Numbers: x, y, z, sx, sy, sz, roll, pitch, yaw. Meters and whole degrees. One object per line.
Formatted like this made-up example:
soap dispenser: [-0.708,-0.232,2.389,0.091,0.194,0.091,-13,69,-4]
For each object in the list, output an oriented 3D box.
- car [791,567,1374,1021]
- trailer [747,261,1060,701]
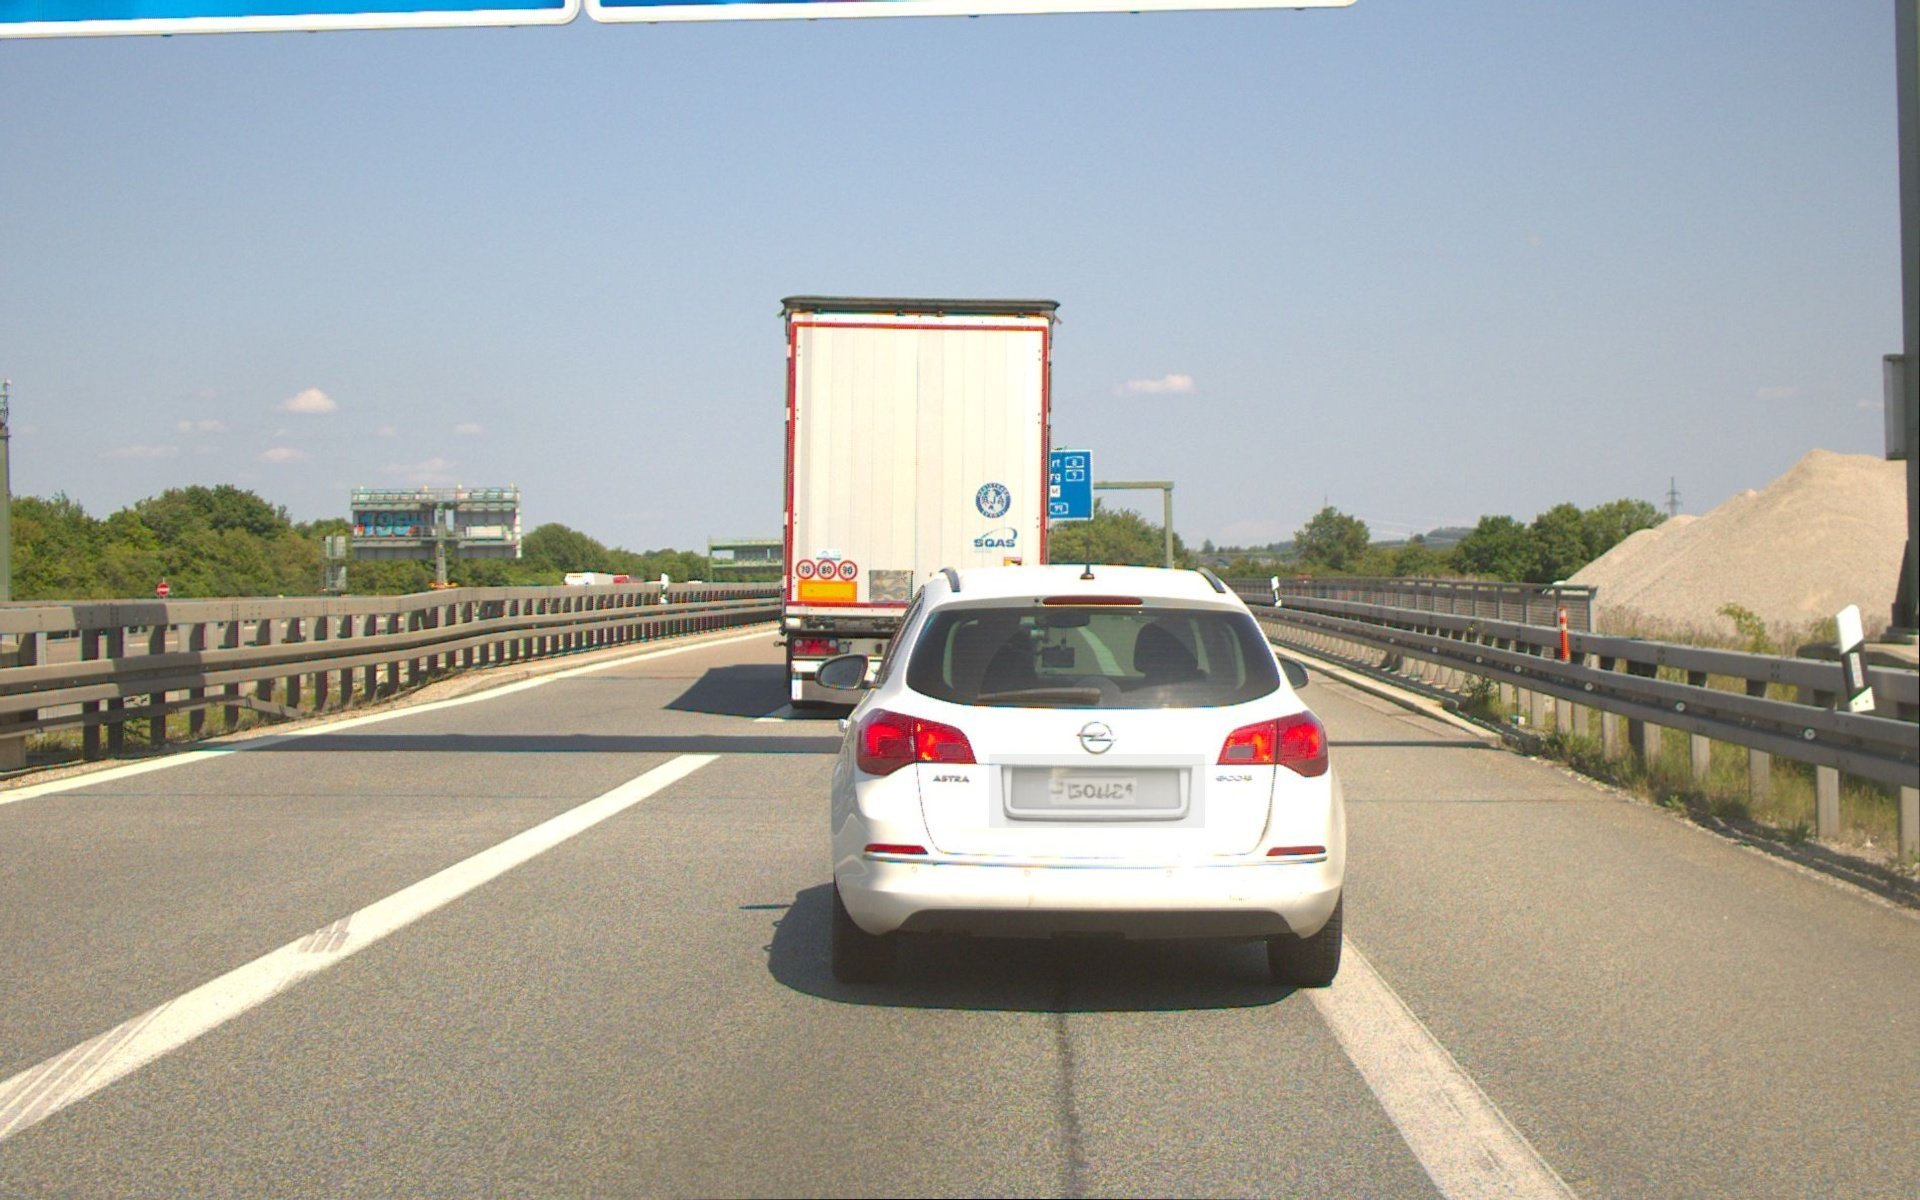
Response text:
car: [0.440,0.607,13.202,1.854,1.438,4.372,0,0,1]
trailer: [-0.468,-1.092,38.172,2.912,4.131,11.257,1,0,1]
